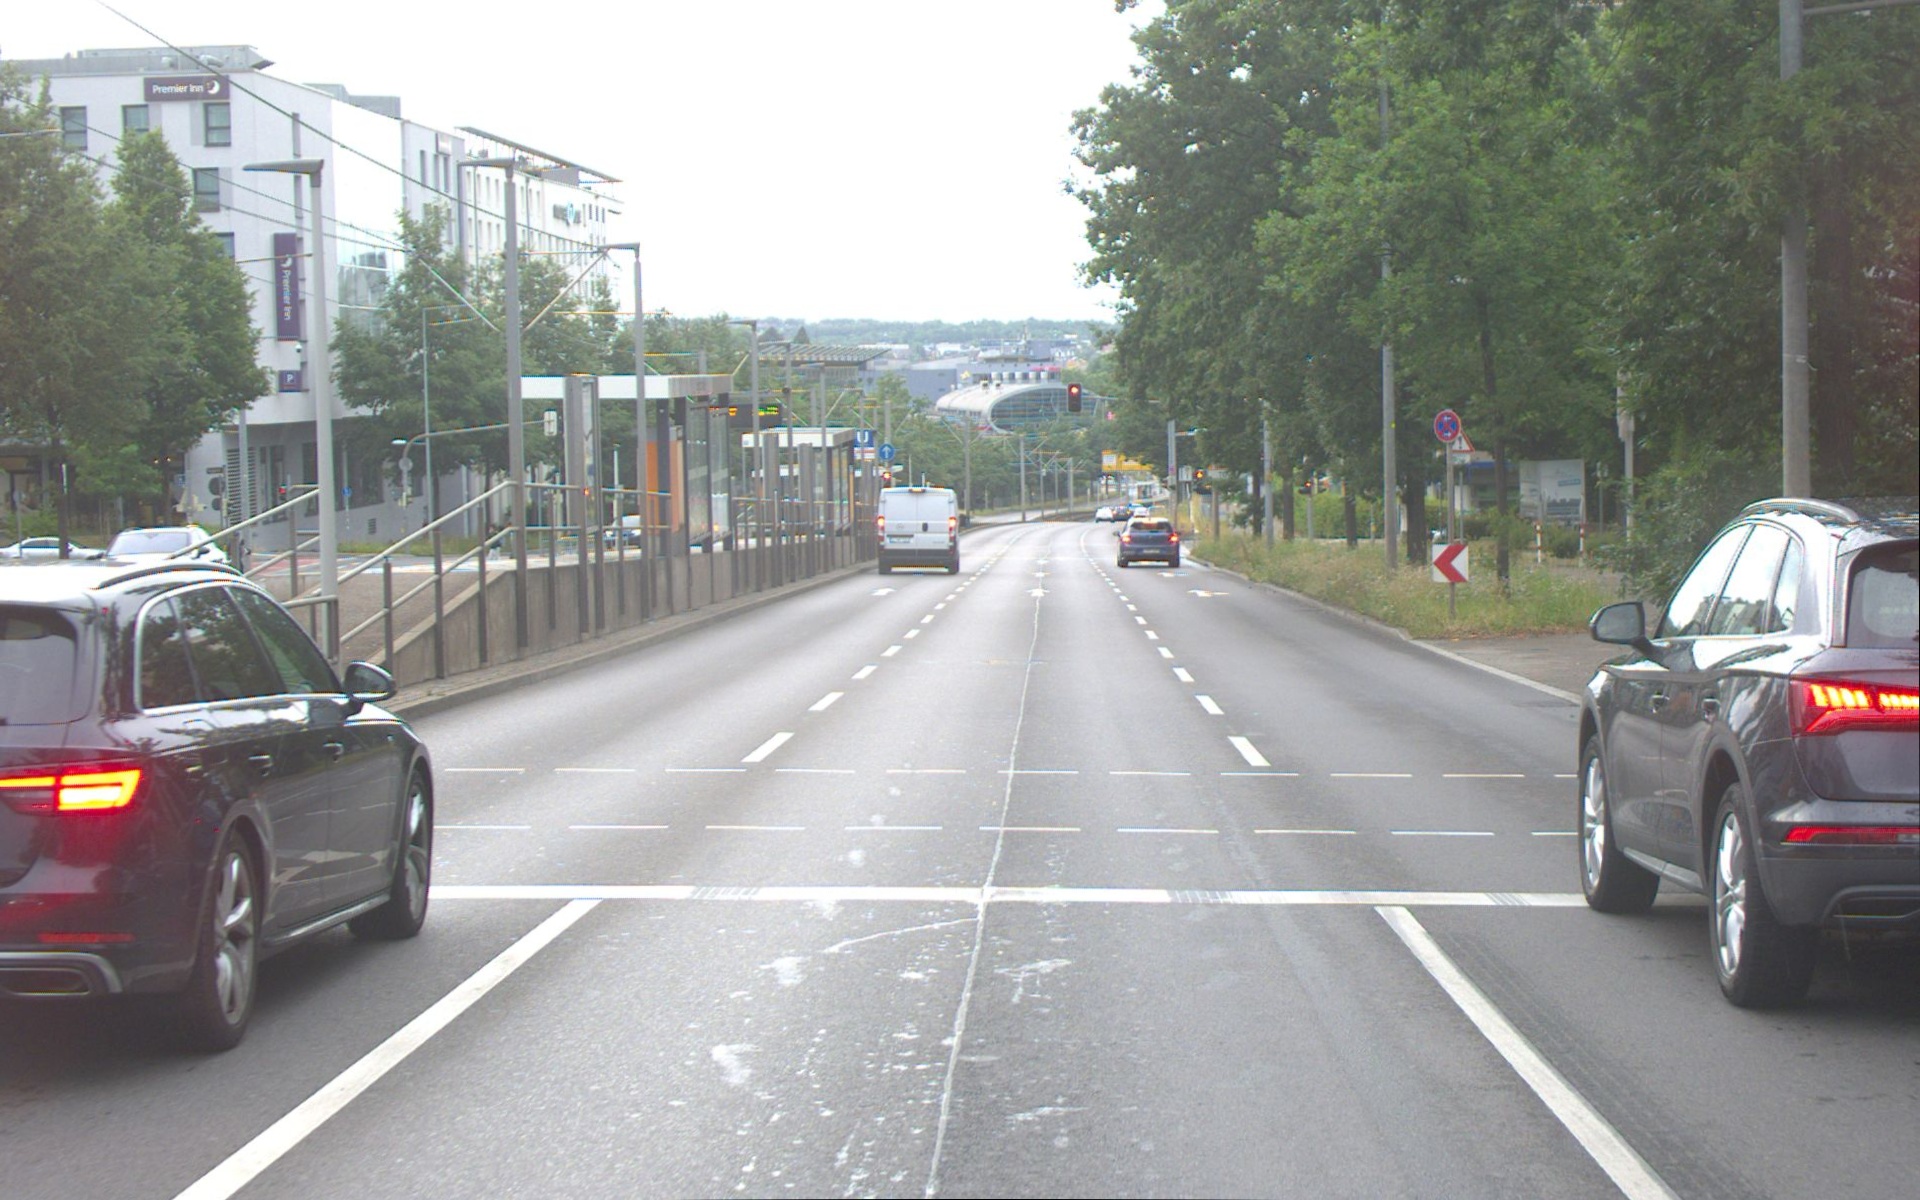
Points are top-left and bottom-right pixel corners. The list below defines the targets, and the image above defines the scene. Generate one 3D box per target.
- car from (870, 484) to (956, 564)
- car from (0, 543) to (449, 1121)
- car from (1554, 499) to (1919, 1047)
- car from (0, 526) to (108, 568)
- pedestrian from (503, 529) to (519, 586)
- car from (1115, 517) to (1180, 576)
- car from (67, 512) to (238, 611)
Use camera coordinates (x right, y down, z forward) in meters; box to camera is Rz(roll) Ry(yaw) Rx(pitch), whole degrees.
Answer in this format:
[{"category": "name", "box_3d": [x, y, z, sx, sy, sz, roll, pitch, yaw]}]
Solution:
[{"category": "car", "box_3d": [-1.200, -1.996, 89.976, 2.093, 2.047, 4.606, 0, 1, 1]}, {"category": "car", "box_3d": [-2.924, 0.561, 11.133, 1.780, 1.461, 4.513, 0, 1, 1]}, {"category": "car", "box_3d": [3.381, 0.461, 12.303, 1.818, 1.607, 4.471, 0, 1, 1]}, {"category": "car", "box_3d": [-34.381, -2.024, 130.096, 3.866, 1.431, 1.656, -2, 1, -3]}, {"category": "pedestrian", "box_3d": [-15.011, -1.413, 114.952, 0.475, 1.914, 0.490, 0, 1, 1]}, {"category": "car", "box_3d": [5.518, -1.594, 101.537, 1.774, 1.685, 3.845, 0, 1, 1]}, {"category": "car", "box_3d": [-15.170, -0.755, 64.828, 1.993, 1.713, 4.841, -2, 1, 0]}]
